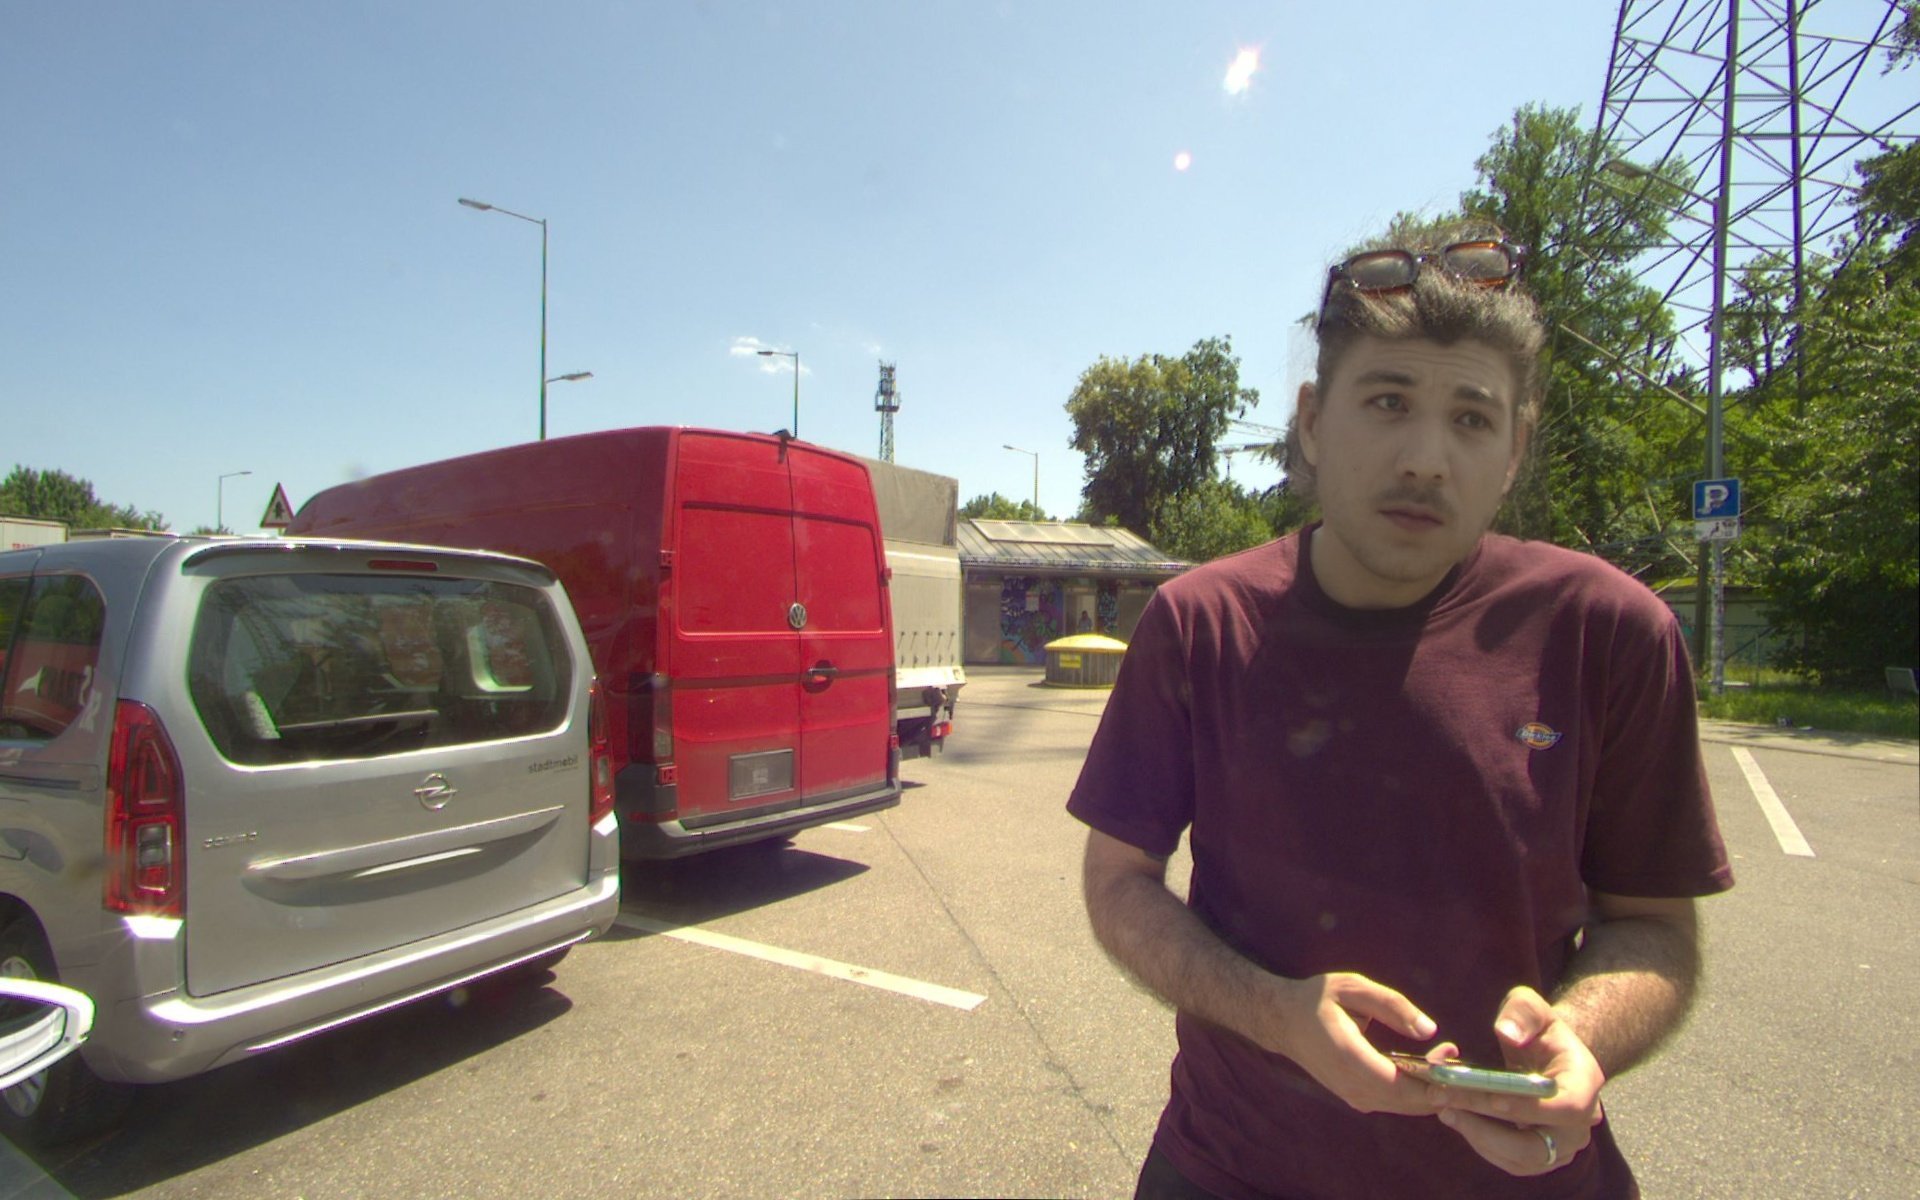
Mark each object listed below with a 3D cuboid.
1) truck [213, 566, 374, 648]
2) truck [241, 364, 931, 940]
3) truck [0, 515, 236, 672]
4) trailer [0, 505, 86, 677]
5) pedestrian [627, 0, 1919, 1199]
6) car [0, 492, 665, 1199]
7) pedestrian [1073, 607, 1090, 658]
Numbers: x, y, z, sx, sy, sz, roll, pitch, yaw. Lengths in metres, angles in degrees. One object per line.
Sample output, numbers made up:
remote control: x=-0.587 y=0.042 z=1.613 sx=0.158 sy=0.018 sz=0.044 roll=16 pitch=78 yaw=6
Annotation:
truck: x=-30.729 y=0.330 z=46.068 sx=8.407 sy=3.482 sz=3.019 roll=0 pitch=-1 yaw=33
truck: x=-2.874 y=0.264 z=6.999 sx=5.233 sy=2.658 sz=1.987 roll=0 pitch=-1 yaw=37
truck: x=-28.008 y=-0.123 z=31.780 sx=14.316 sy=4.175 sz=2.901 roll=0 pitch=-3 yaw=33
trailer: x=-28.814 y=-0.240 z=28.026 sx=13.374 sy=4.178 sz=2.871 roll=0 pitch=-1 yaw=32
pedestrian: x=0.355 y=0.502 z=0.877 sx=0.926 sy=1.798 sz=0.827 roll=1 pitch=0 yaw=28
car: x=-3.360 y=0.638 z=4.214 sx=3.938 sy=1.776 sz=1.824 roll=0 pitch=-1 yaw=29
pedestrian: x=3.709 y=0.979 z=30.523 sx=0.453 sy=1.535 sz=0.375 roll=1 pitch=0 yaw=-2
